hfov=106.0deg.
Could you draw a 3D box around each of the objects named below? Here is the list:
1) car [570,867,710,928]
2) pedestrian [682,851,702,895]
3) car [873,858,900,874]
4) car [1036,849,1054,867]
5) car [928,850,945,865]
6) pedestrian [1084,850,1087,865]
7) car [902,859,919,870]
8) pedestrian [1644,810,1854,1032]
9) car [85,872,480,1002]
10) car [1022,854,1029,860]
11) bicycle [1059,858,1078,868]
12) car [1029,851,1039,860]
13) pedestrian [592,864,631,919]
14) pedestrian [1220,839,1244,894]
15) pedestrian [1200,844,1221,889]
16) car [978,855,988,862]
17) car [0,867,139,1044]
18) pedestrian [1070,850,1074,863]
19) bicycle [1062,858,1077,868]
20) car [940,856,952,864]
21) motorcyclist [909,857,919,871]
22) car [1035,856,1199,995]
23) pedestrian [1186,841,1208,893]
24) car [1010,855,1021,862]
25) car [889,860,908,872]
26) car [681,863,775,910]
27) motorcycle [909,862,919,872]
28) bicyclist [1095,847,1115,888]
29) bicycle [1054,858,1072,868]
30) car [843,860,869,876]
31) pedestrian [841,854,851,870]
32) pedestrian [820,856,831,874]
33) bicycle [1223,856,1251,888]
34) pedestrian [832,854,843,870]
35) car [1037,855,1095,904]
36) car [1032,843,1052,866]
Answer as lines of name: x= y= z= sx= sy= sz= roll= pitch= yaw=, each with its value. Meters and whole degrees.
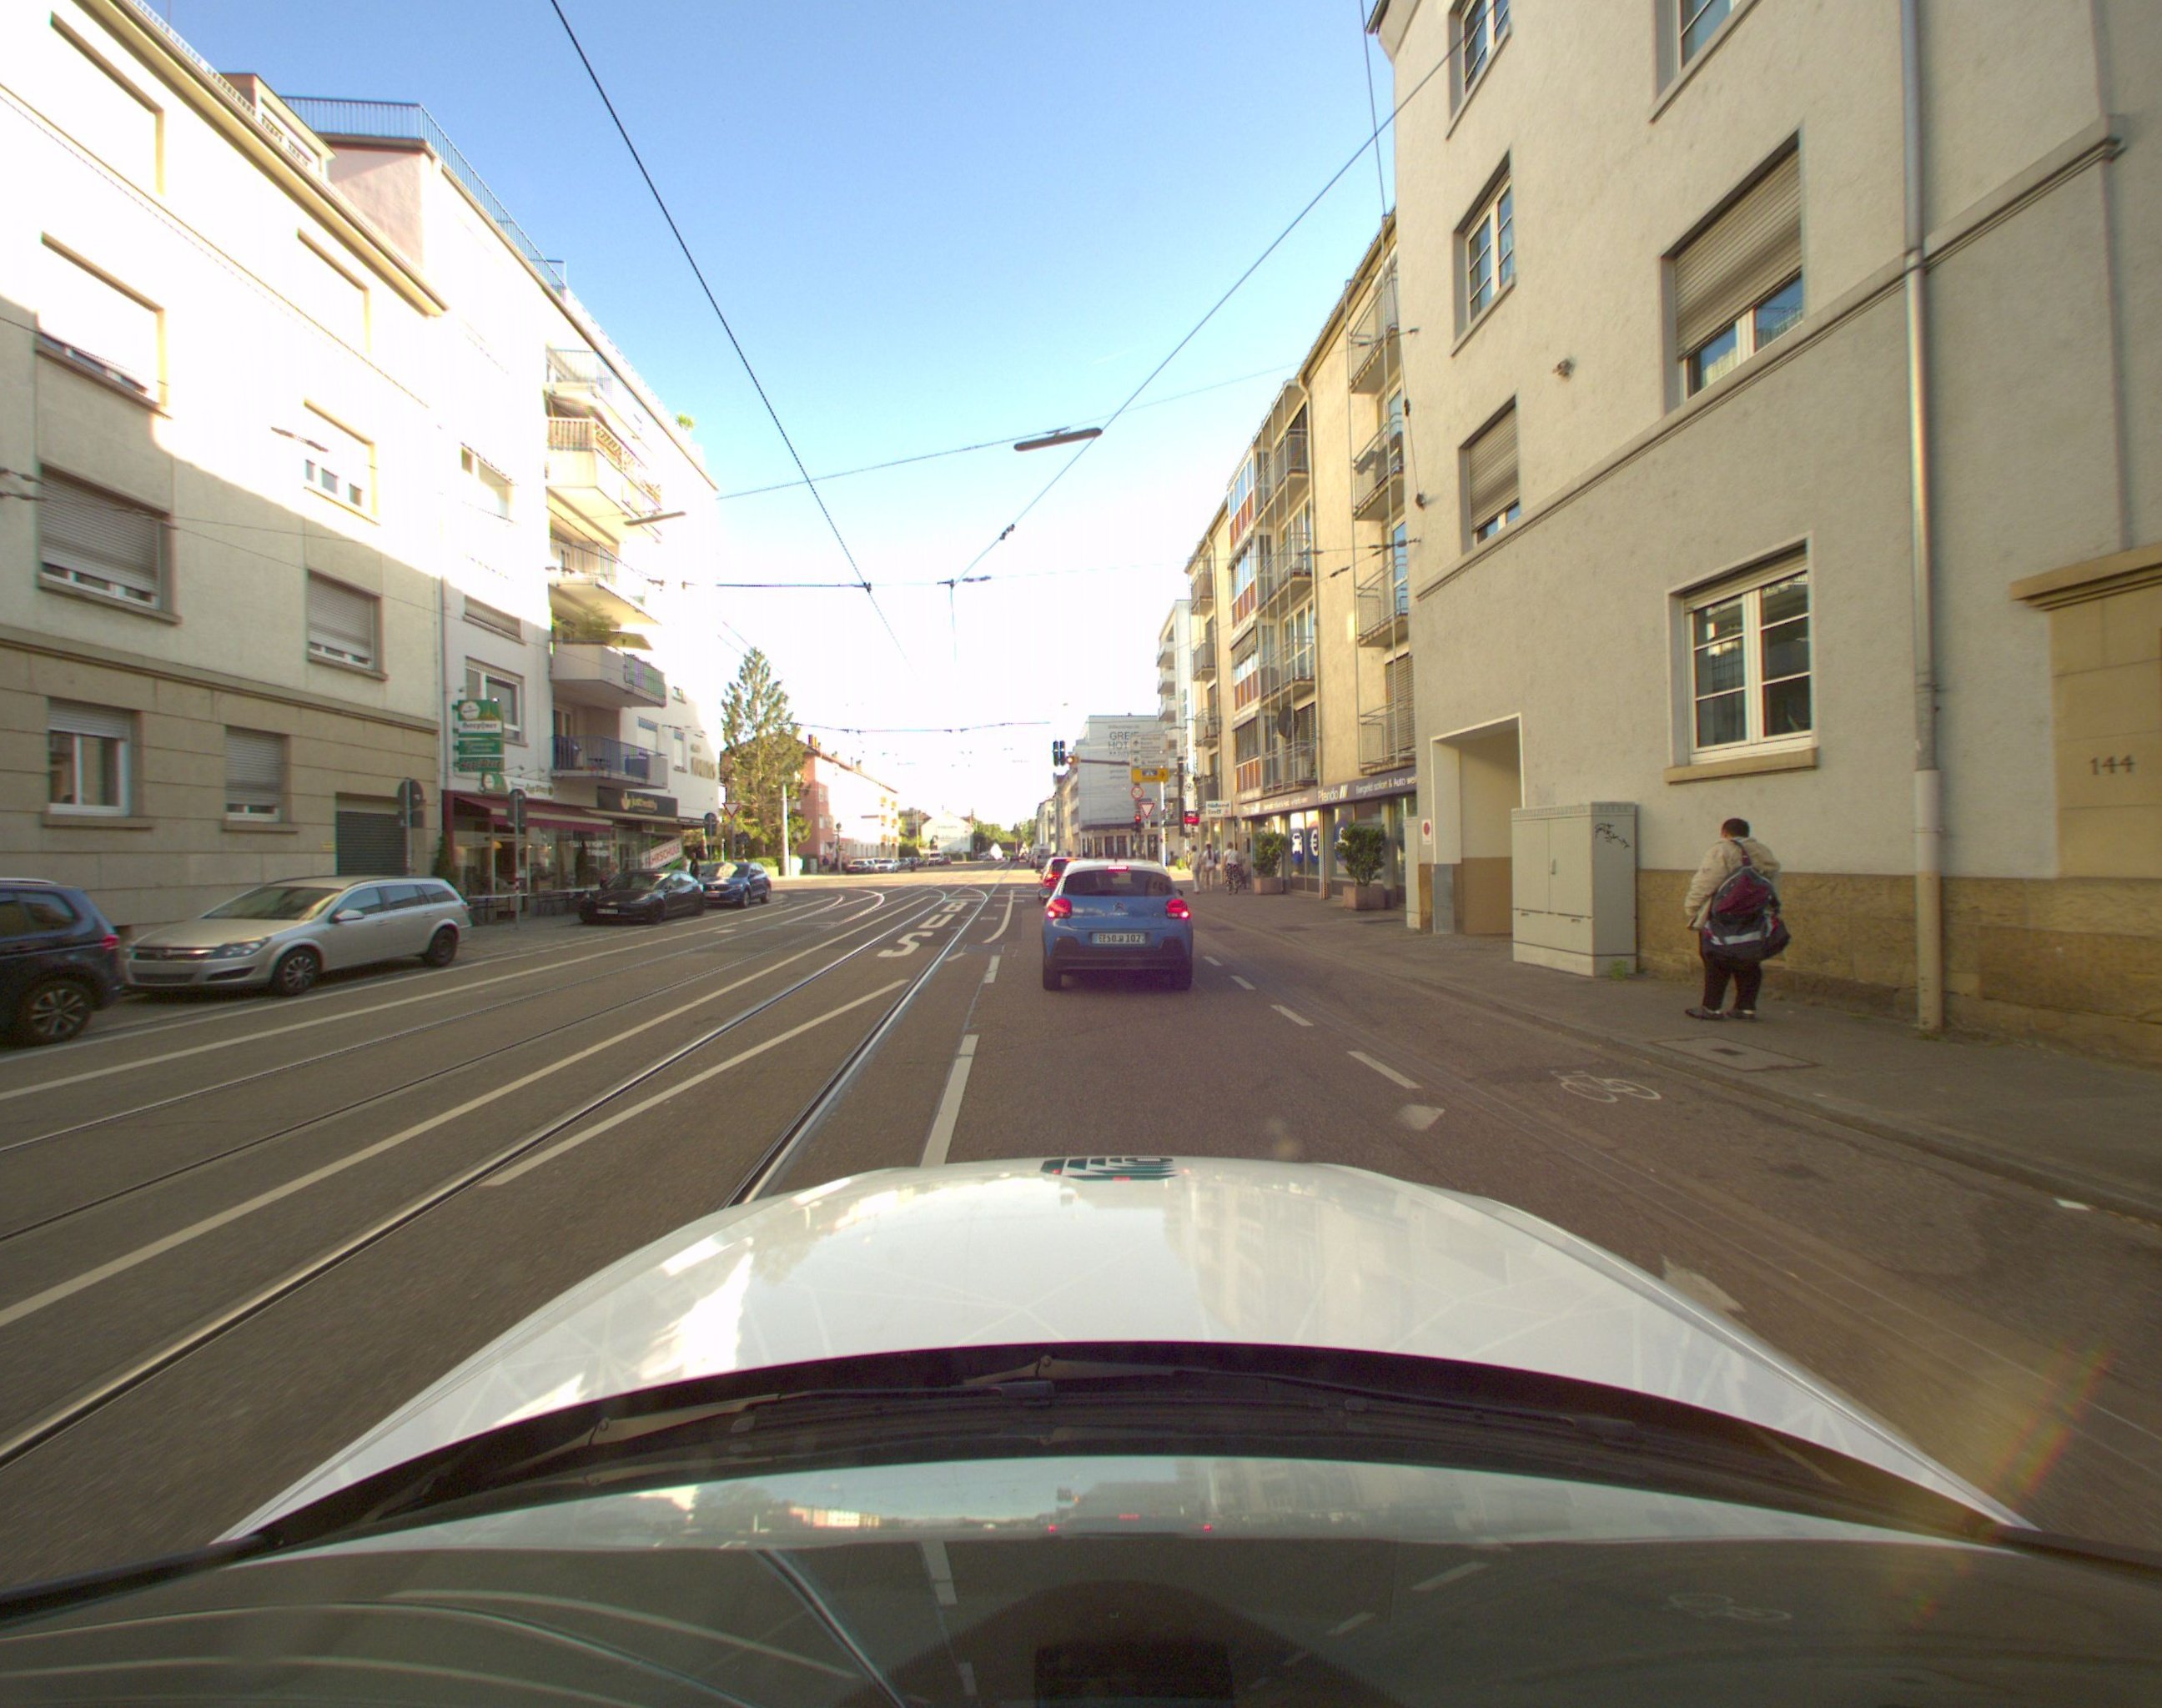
car: x=-11.936 y=1.110 z=22.383 sx=1.696 sy=1.509 sz=4.306 roll=0 pitch=-1 yaw=-4
pedestrian: x=-18.027 y=0.854 z=37.714 sx=0.686 sy=2.013 sz=0.485 roll=-1 pitch=0 yaw=-7
car: x=-19.483 y=1.183 z=81.873 sx=1.846 sy=1.574 sz=4.396 roll=-1 pitch=0 yaw=-3
car: x=-3.569 y=0.410 z=80.358 sx=1.729 sy=1.750 sz=3.209 roll=0 pitch=0 yaw=-4
car: x=-23.290 y=0.563 z=131.551 sx=2.203 sy=2.251 sz=4.669 roll=-2 pitch=0 yaw=-5
pedestrian: x=0.463 y=0.367 z=83.088 sx=0.284 sy=1.556 sz=0.304 roll=-2 pitch=0 yaw=-10
car: x=-24.808 y=1.444 z=118.343 sx=1.908 sy=1.497 sz=3.993 roll=-2 pitch=0 yaw=-5
pedestrian: x=5.072 y=0.473 z=6.248 sx=0.823 sy=1.534 sz=0.868 roll=-3 pitch=0 yaw=-3
car: x=-11.224 y=1.043 z=12.012 sx=1.696 sy=1.509 sz=4.379 roll=0 pitch=-1 yaw=-5
car: x=-17.294 y=0.902 z=255.118 sx=1.988 sy=1.794 sz=3.998 roll=-1 pitch=0 yaw=-1
bicycle: x=-1.222 y=0.879 z=79.941 sx=1.867 sy=0.957 sz=0.702 roll=-2 pitch=0 yaw=0
car: x=-8.309 y=0.298 z=144.093 sx=1.685 sy=1.618 sz=3.995 roll=0 pitch=0 yaw=-3
pedestrian: x=-13.717 y=1.080 z=23.808 sx=0.695 sy=1.548 sz=0.721 roll=-1 pitch=0 yaw=-1
pedestrian: x=4.726 y=0.372 z=25.514 sx=0.540 sy=1.672 sz=0.649 roll=-3 pitch=0 yaw=-3
pedestrian: x=4.541 y=0.438 z=28.535 sx=0.540 sy=1.507 sz=0.610 roll=-3 pitch=2 yaw=-3
car: x=-21.947 y=0.973 z=181.747 sx=2.018 sy=1.525 sz=3.993 roll=-1 pitch=0 yaw=-5
car: x=-10.713 y=0.926 z=6.463 sx=1.696 sy=1.615 sz=4.236 roll=0 pitch=-1 yaw=-5
pedestrian: x=-1.123 y=0.308 z=98.808 sx=0.490 sy=1.556 sz=0.647 roll=-1 pitch=0 yaw=-3
bicycle: x=-1.113 y=0.874 z=78.884 sx=1.499 sy=0.957 sz=0.702 roll=-2 pitch=0 yaw=0
car: x=-25.928 y=1.188 z=156.756 sx=2.018 sy=1.525 sz=3.993 roll=-1 pitch=0 yaw=-5
motorcyclist: x=-16.340 y=0.996 z=79.620 sx=0.717 sy=1.378 sz=0.911 roll=-2 pitch=0 yaw=-1
car: x=0.465 y=0.762 z=10.650 sx=1.737 sy=1.462 sz=4.002 roll=0 pitch=0 yaw=2
pedestrian: x=3.840 y=0.426 z=27.063 sx=0.540 sy=1.672 sz=0.623 roll=-3 pitch=2 yaw=-3
car: x=-12.184 y=0.767 z=151.335 sx=1.754 sy=1.259 sz=3.822 roll=-1 pitch=0 yaw=-8
car: x=-24.585 y=1.655 z=109.944 sx=1.908 sy=1.497 sz=3.993 roll=-2 pitch=0 yaw=-5
car: x=-12.155 y=1.077 z=28.325 sx=1.741 sy=1.509 sz=3.994 roll=0 pitch=-1 yaw=-4
motorcycle: x=-16.345 y=1.284 z=79.773 sx=0.614 sy=0.864 sz=1.670 roll=-2 pitch=0 yaw=-1
bicyclist: x=0.975 y=0.548 z=33.191 sx=0.724 sy=1.646 sz=0.789 roll=-1 pitch=0 yaw=-1
bicycle: x=-1.768 y=0.893 z=81.285 sx=1.714 sy=0.957 sz=0.702 roll=-2 pitch=0 yaw=0
car: x=-22.372 y=1.396 z=81.164 sx=1.909 sy=1.433 sz=3.991 roll=-2 pitch=0 yaw=-7
pedestrian: x=-24.101 y=0.816 z=83.550 sx=0.840 sy=1.690 sz=0.737 roll=-1 pitch=0 yaw=1
pedestrian: x=-24.290 y=1.084 z=77.412 sx=0.840 sy=1.690 sz=0.737 roll=-1 pitch=0 yaw=1
bicycle: x=5.501 y=0.615 z=28.800 sx=0.529 sy=1.072 sz=1.808 roll=-1 pitch=0 yaw=-4
pedestrian: x=-24.976 y=0.823 z=83.419 sx=0.840 sy=1.690 sz=0.737 roll=-1 pitch=0 yaw=1
car: x=-0.488 y=0.761 z=26.500 sx=1.733 sy=1.420 sz=3.998 roll=-1 pitch=0 yaw=-1
car: x=-4.086 y=0.093 z=85.261 sx=1.990 sy=2.325 sz=3.994 roll=0 pitch=0 yaw=-4
